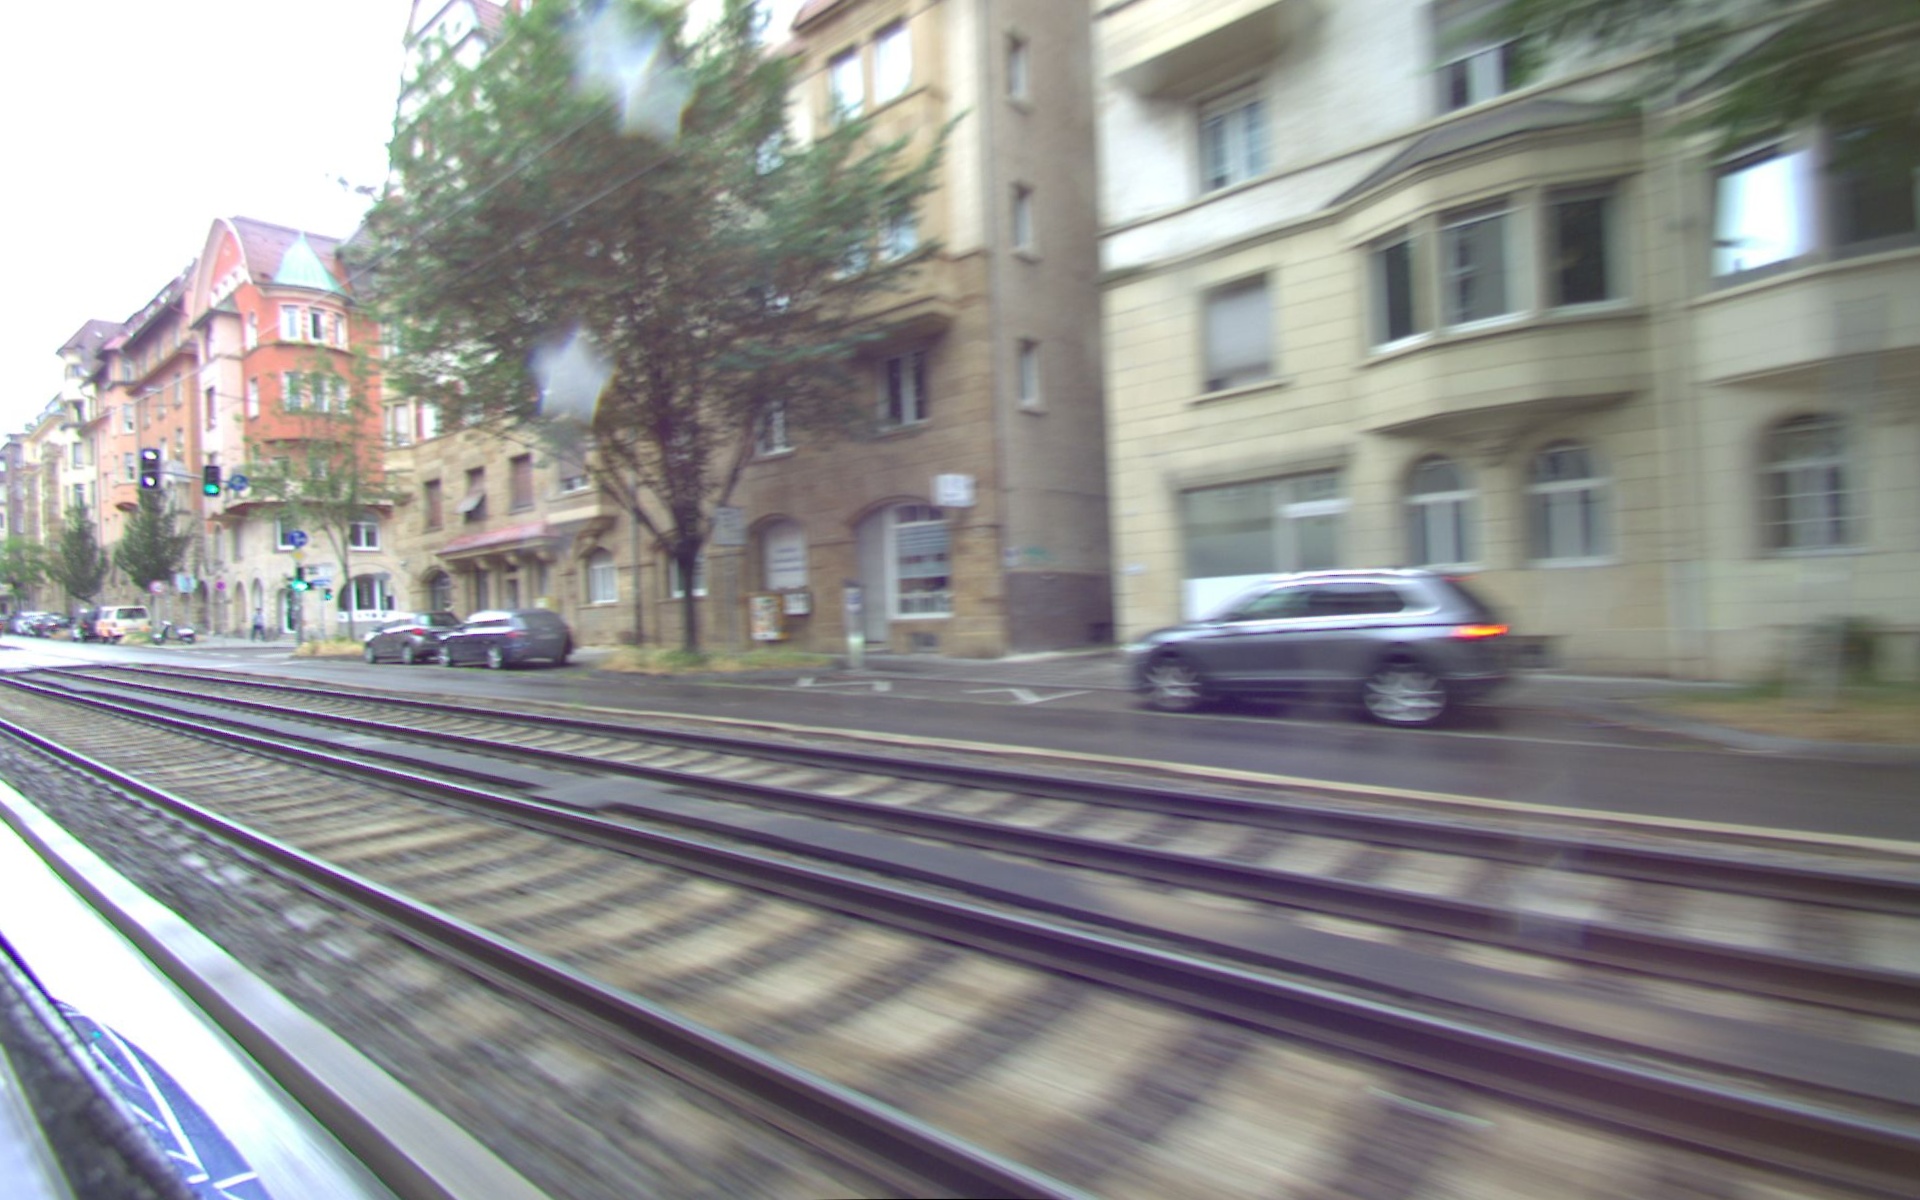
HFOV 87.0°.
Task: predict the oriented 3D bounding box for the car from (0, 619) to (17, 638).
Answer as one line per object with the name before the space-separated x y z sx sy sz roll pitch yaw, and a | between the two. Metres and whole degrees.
car | -82.039 2.425 86.508 3.712 1.493 1.695 0 3 42

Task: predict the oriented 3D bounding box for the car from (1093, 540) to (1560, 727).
car | 4.152 0.339 11.941 4.774 1.755 1.934 -2 2 40

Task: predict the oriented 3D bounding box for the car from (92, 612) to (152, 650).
car | -45.283 1.624 54.665 4.472 1.945 1.711 -1 0 40

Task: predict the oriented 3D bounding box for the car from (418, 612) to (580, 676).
car | -11.727 1.039 25.580 4.974 1.471 1.763 -1 0 40

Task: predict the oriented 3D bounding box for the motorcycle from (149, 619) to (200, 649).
motorcycle | -37.129 1.604 47.855 1.754 1.385 0.770 0 0 -17

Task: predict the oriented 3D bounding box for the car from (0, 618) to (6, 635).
car | -86.679 2.404 90.404 4.043 1.462 1.737 0 3 42

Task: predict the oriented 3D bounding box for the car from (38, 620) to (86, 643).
car | -59.759 2.067 67.339 3.690 1.414 1.739 -1 2 38

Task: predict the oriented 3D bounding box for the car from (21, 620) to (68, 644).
car | -63.772 2.189 70.464 4.593 1.502 1.738 -1 2 39

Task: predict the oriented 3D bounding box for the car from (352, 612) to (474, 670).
car | -15.837 1.118 29.226 4.172 1.541 1.673 -1 0 40

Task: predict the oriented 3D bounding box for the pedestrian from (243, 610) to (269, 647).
pedestrian | -34.531 1.394 49.632 0.892 1.732 0.710 -1 5 41

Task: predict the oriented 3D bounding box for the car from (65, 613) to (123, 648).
car | -50.660 1.756 59.184 4.829 1.945 1.886 -1 0 40

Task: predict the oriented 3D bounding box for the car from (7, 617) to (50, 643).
car | -68.180 2.162 74.018 4.257 1.684 1.738 -1 3 40
